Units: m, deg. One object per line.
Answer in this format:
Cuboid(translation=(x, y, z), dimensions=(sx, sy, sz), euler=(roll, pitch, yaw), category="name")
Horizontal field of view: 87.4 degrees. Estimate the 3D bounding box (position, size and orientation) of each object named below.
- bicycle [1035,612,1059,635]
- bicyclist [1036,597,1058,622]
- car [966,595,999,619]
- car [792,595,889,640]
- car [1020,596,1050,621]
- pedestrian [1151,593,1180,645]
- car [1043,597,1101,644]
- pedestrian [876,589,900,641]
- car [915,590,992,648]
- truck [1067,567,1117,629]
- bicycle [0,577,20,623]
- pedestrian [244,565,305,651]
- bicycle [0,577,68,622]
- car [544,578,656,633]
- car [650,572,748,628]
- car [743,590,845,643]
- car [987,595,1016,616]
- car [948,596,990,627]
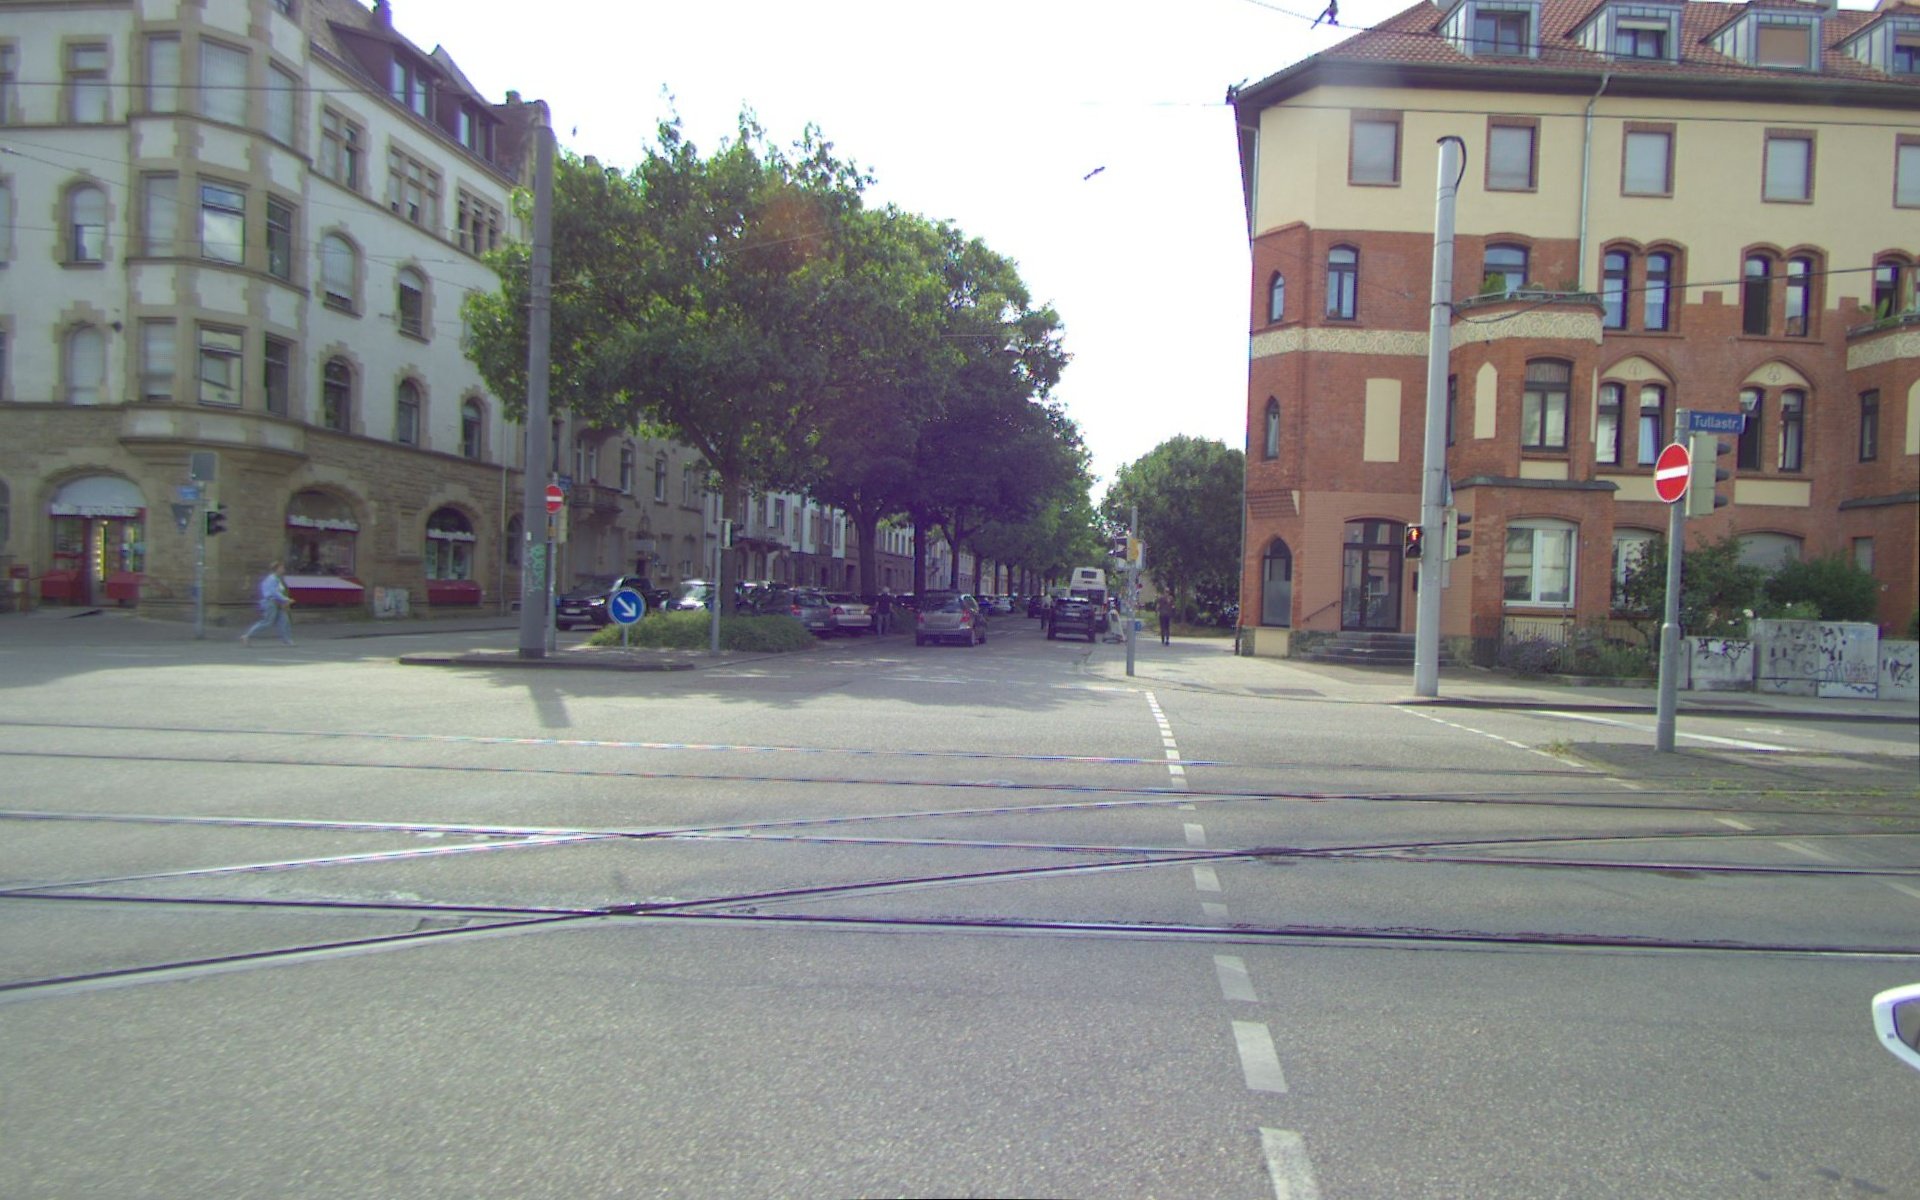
Cuboid(translation=(4.023, 1.073, 46.412), dimensions=(0.736, 0.971, 2.300), euler=(1, 0, 13), category="bicycle")
Cuboid(translation=(4.011, 0.438, 46.326), dimensions=(0.822, 1.096, 1.401), euler=(1, 0, 13), category="bicyclist")
Cuboid(translation=(1.562, 0.494, 69.230), dimensions=(1.722, 1.537, 3.501), euler=(2, 0, 10), category="car")
Cuboid(translation=(-4.159, 0.580, 34.426), dimensions=(1.951, 1.357, 3.969), euler=(2, 0, -29), category="car")
Cuboid(translation=(5.343, 0.579, 71.073), dimensions=(1.693, 1.729, 3.679), euler=(1, 0, 10), category="car")
Cuboid(translation=(6.797, 0.609, 33.153), dimensions=(0.854, 1.679, 0.736), euler=(2, 1, 14), category="pedestrian")
Cuboid(translation=(4.305, 0.745, 38.276), dimensions=(1.722, 1.654, 3.501), euler=(2, 0, 13), category="car")
Cuboid(translation=(-2.464, 0.514, 34.247), dimensions=(0.641, 1.748, 0.495), euler=(2, 1, 13), category="pedestrian")
Cuboid(translation=(-0.144, 0.553, 31.051), dimensions=(1.693, 1.627, 3.679), euler=(1, 0, 10), category="car")
Cuboid(translation=(6.758, -0.111, 51.010), dimensions=(2.087, 3.010, 4.002), euler=(1, 0, 13), category="truck")
Cuboid(translation=(-23.765, -0.017, 23.987), dimensions=(1.884, 1.095, 0.778), euler=(1, 0, -1), category="bicycle")
Cuboid(translation=(-14.378, 0.162, 21.085), dimensions=(1.013, 1.745, 0.769), euler=(1, 1, -34), category="pedestrian")
Cuboid(translation=(-23.722, -0.017, 25.242), dimensions=(1.884, 1.095, 0.778), euler=(1, 0, -1), category="bicycle")
Cuboid(translation=(-11.671, 0.177, 32.870), dimensions=(1.960, 1.639, 4.002), euler=(1, 0, 5), category="car")
Cuboid(translation=(-8.729, 0.000, 33.938), dimensions=(1.960, 1.751, 4.002), euler=(1, 0, 5), category="car")
Cuboid(translation=(-5.344, 0.484, 31.976), dimensions=(1.951, 1.515, 3.969), euler=(2, 0, -29), category="car")
Cuboid(translation=(3.153, 0.409, 75.924), dimensions=(1.722, 1.537, 3.501), euler=(2, 0, 10), category="car")
Cuboid(translation=(0.513, 0.617, 55.806), dimensions=(1.722, 1.654, 3.501), euler=(2, 0, 10), category="car")
